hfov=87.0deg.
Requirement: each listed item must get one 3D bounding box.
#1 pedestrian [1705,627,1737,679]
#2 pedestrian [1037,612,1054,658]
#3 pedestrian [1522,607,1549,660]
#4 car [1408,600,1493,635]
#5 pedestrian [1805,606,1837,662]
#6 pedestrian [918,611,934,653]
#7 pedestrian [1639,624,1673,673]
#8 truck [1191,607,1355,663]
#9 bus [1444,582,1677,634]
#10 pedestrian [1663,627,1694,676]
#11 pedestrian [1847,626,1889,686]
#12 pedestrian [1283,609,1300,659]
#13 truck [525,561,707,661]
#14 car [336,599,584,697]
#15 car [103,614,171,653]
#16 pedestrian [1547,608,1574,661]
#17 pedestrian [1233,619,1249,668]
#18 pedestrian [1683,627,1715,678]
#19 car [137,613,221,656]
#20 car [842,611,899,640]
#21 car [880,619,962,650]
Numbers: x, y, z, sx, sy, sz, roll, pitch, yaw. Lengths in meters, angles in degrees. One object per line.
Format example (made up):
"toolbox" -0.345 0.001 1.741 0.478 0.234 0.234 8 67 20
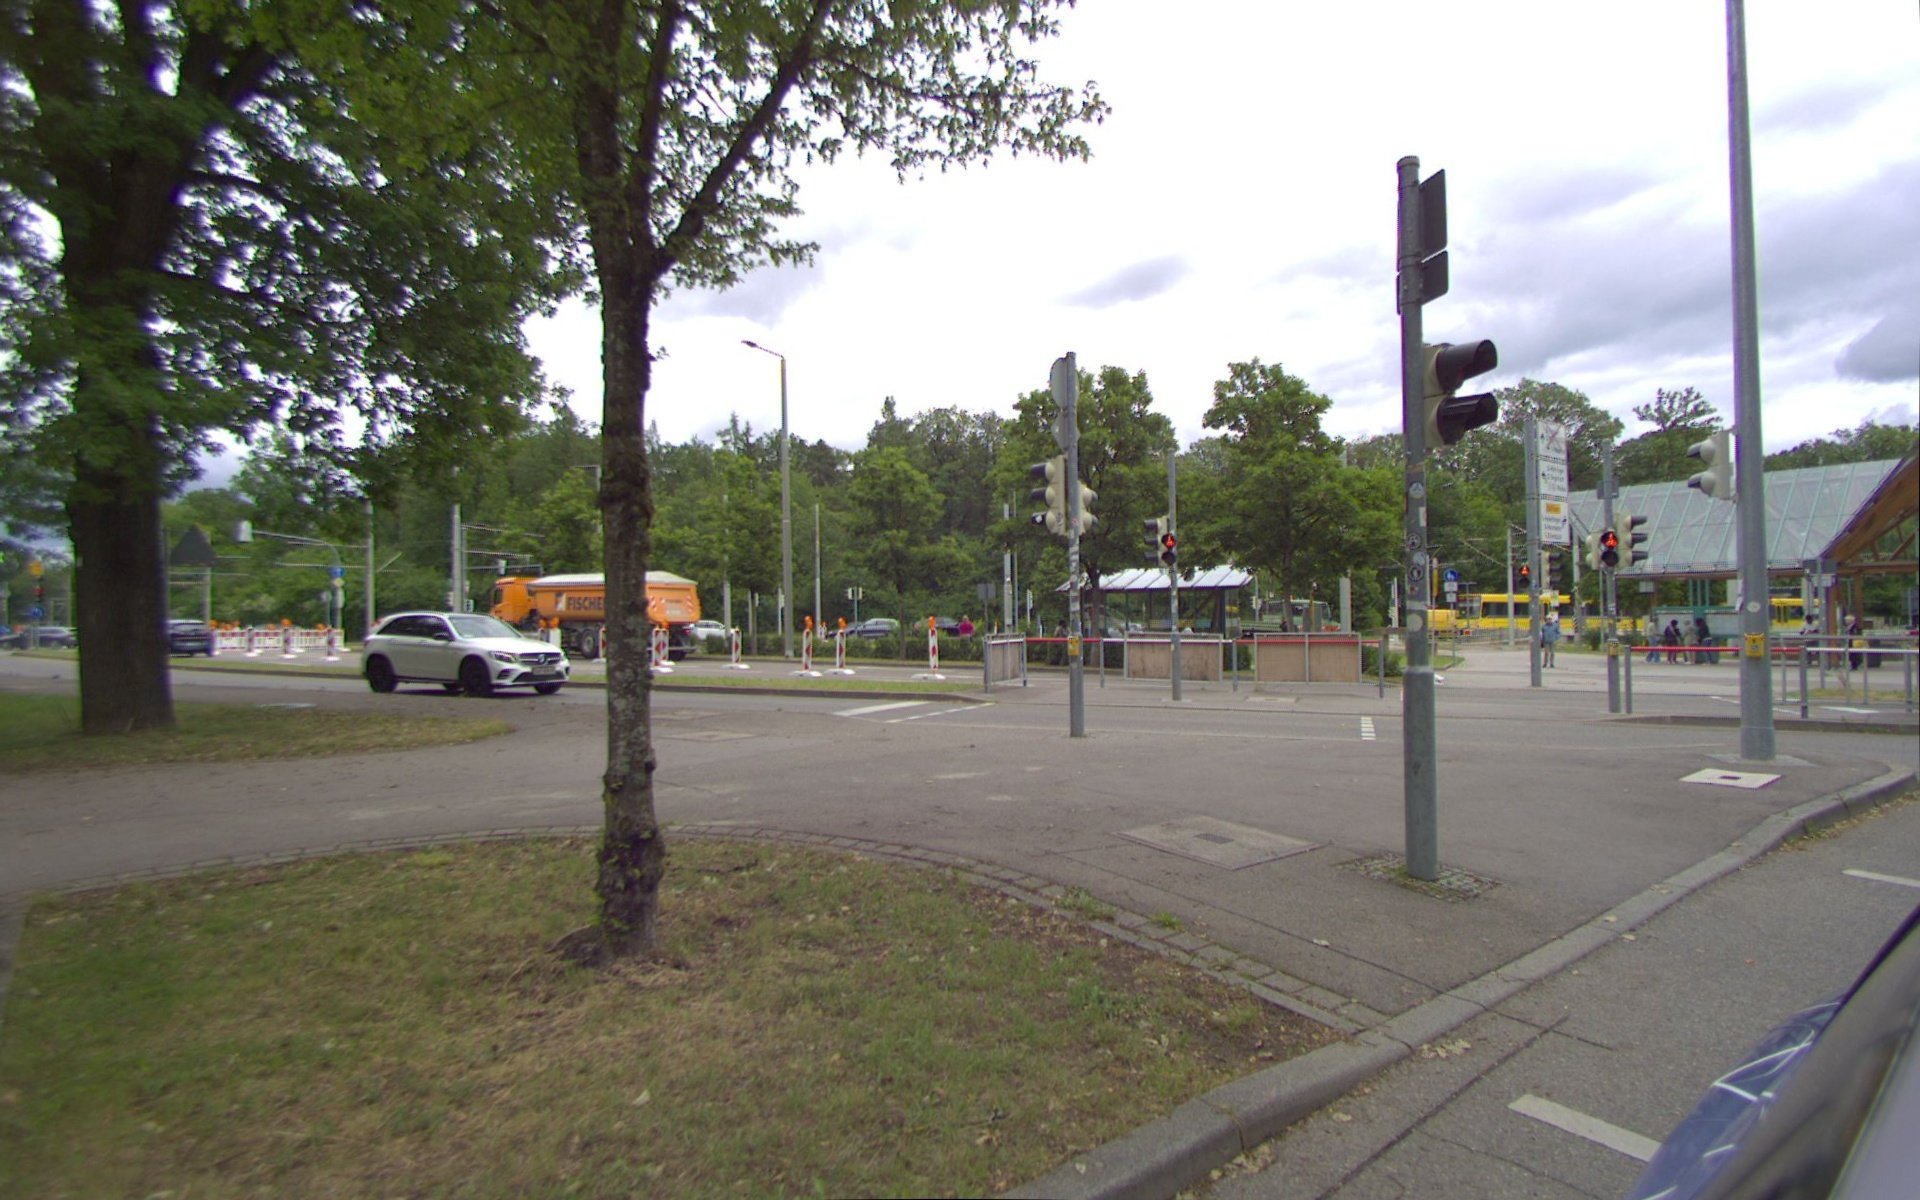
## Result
"pedestrian" 26.785 1.861 35.620 0.590 1.781 0.666 0 -3 9
"pedestrian" 5.757 2.356 68.444 1.094 3.085 1.025 0 -3 4
"pedestrian" 19.798 1.154 34.804 0.731 1.781 0.660 -2 -4 33
"car" 38.206 1.390 78.858 6.019 2.527 2.003 1 -3 -13
"pedestrian" 27.780 1.094 32.665 0.651 1.781 0.660 -2 -4 33
"pedestrian" -1.875 1.801 56.291 0.847 2.325 0.616 0 -3 4
"pedestrian" 25.568 1.791 37.185 0.722 1.781 0.734 2 -4 -31
"truck" 13.767 1.580 44.769 6.415 2.383 2.407 0 -3 -3
"bus" 45.551 0.730 76.633 18.184 3.529 3.985 1 -3 -18
"pedestrian" 25.951 1.859 36.572 0.655 1.781 0.562 0 -3 -4
"pedestrian" 27.243 1.683 30.374 0.642 1.781 0.669 1 -4 -22
"pedestrian" 10.302 1.062 31.460 0.472 1.536 0.520 -1 -4 15
"truck" -13.558 0.428 39.555 8.206 3.560 2.827 0 -1 39
"car" -9.999 0.962 20.254 4.527 1.773 1.983 -1 -3 24
"car" -38.781 1.606 47.668 3.684 1.761 1.775 -2 -4 40
"pedestrian" 20.468 1.184 34.506 0.731 1.781 0.660 -2 -4 32
"pedestrian" 8.849 1.364 31.901 0.472 1.536 0.520 -1 -4 15
"pedestrian" 26.225 1.854 35.925 0.590 1.781 0.666 0 -3 9
"car" -33.195 1.482 42.974 3.980 1.739 1.971 -2 -4 40
"car" -6.541 1.887 73.710 3.916 2.040 2.003 1 -3 -13
"car" -2.706 2.390 69.589 5.321 2.040 2.003 1 -3 -13
